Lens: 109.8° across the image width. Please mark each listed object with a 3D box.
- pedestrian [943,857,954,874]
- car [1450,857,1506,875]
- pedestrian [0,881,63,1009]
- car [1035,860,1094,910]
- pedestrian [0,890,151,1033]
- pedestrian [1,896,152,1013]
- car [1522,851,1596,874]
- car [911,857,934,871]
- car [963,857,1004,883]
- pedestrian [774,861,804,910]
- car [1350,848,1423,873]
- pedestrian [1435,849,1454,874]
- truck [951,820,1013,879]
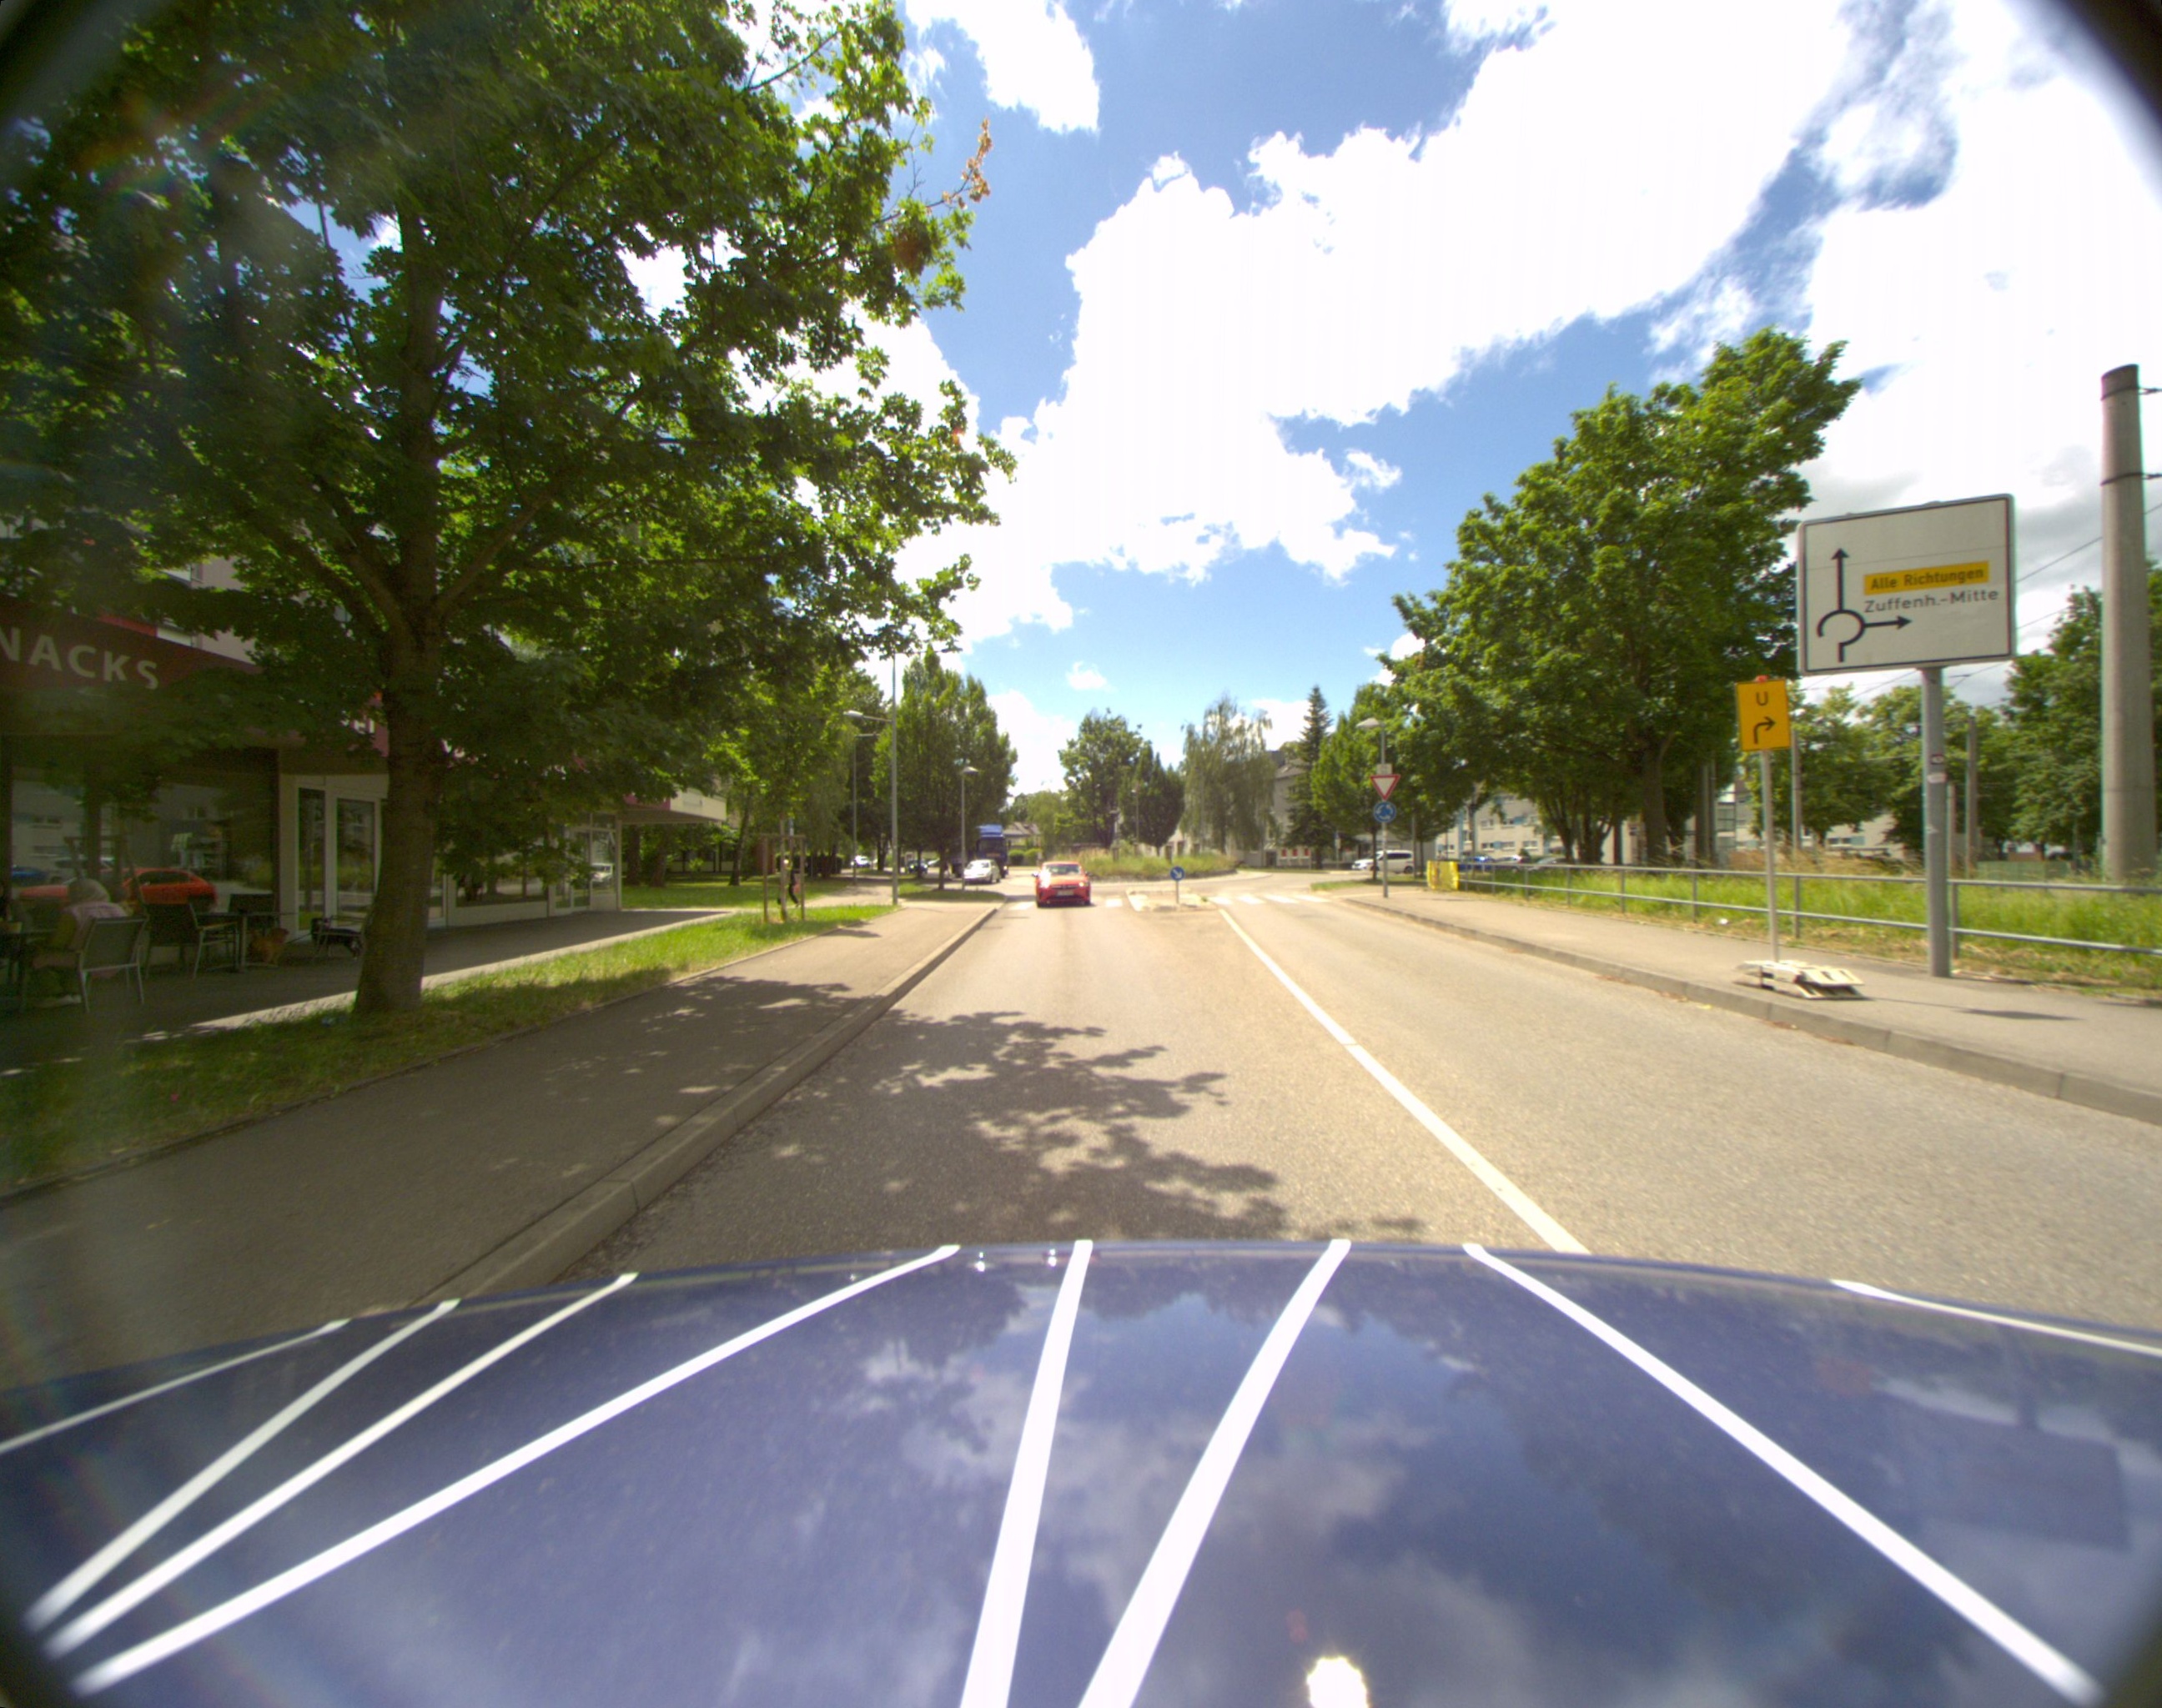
[{"bbox_3d":[-11.431,0.989,65.732,0.691,1.416,0.922,0,1,5],"label":"pedestrian"},{"bbox_3d":[34.248,0.984,65.630,1.811,1.514,4.116,0,0,-20],"label":"car"},{"bbox_3d":[-11.334,0.934,7.856,0.674,1.259,0.677,2,1,-8],"label":"pedestrian"},{"bbox_3d":[-0.618,0.965,24.970,1.713,1.439,3.668,-2,0,-4],"label":"car"},{"bbox_3d":[-9.769,1.005,7.365,0.677,1.259,0.674,2,1,5],"label":"pedestrian"},{"bbox_3d":[-10.630,1.043,8.067,0.674,1.145,0.677,2,1,-8],"label":"pedestrian"},{"bbox_3d":[36.932,0.636,58.759,4.619,1.786,1.998,0,0,-8],"label":"car"},{"bbox_3d":[-15.997,1.029,76.430,1.811,1.346,3.993,0,0,-19],"label":"car"},{"bbox_3d":[-5.829,0.919,45.778,1.760,1.514,3.826,0,0,4],"label":"car"},{"bbox_3d":[-9.282,0.988,24.182,0.726,1.529,0.654,0,1,-2],"label":"pedestrian"},{"bbox_3d":[22.317,0.440,55.599,4.619,1.786,1.998,0,0,-11],"label":"car"},{"bbox_3d":[24.405,0.525,51.050,0.875,1.655,1.022,0,1,5],"label":"pedestrian"},{"bbox_3d":[-7.650,-0.313,57.627,2.634,4.069,9.592,0,0,-20],"label":"truck"}]
